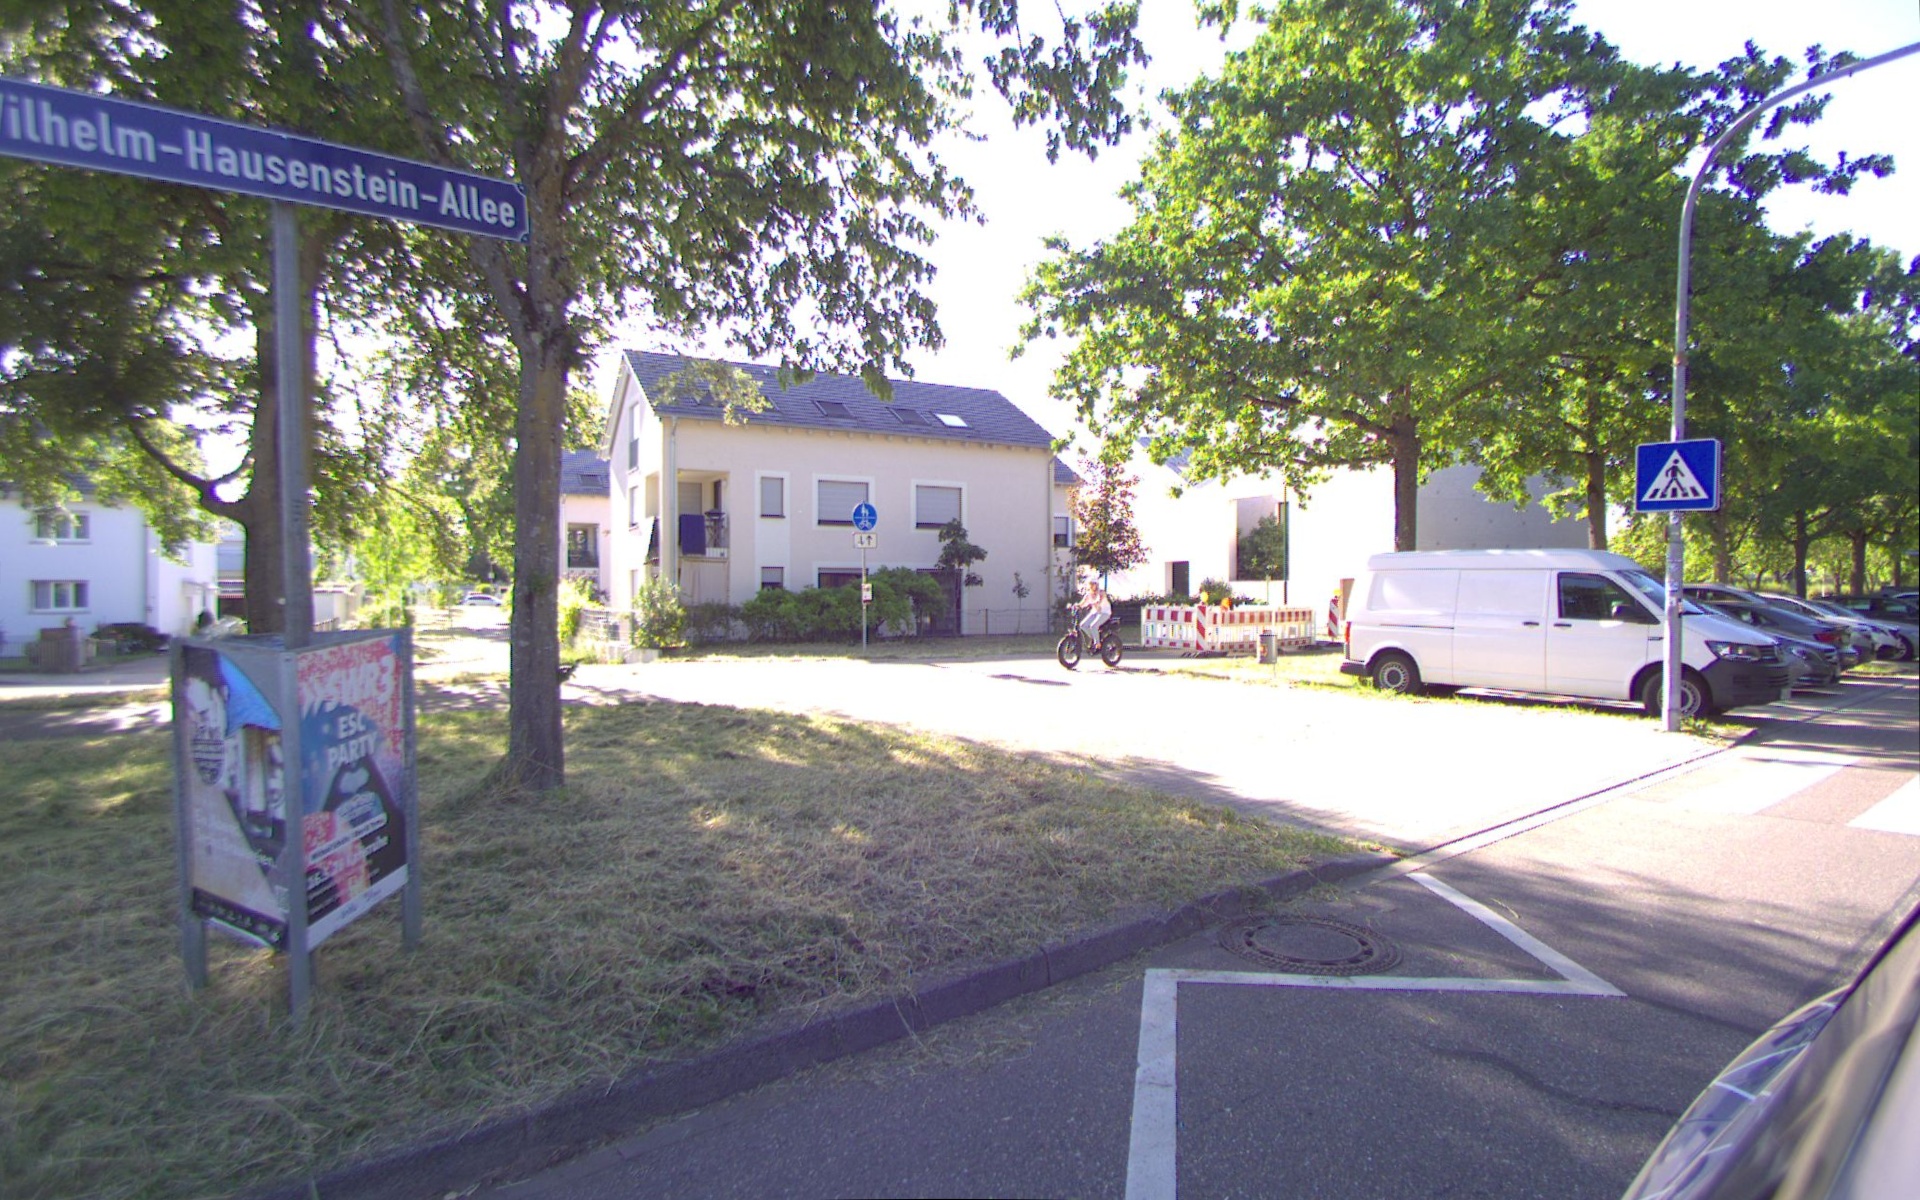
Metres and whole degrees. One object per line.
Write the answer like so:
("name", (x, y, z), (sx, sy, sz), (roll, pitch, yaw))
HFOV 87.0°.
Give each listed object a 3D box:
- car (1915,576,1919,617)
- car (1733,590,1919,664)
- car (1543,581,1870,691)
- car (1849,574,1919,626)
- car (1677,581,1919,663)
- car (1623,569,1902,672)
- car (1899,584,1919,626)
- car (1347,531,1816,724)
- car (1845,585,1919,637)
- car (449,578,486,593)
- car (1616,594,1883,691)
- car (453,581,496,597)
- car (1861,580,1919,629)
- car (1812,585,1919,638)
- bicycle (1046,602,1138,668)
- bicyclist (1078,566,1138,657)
("car", (43.375, -0.157, 42.608), (1.504, 1.765, 4.396), (0, 0, -37))
("car", (21.530, 0.622, 24.667), (1.504, 1.681, 4.020), (0, 0, -37))
("car", (12.103, 0.516, 16.643), (1.725, 1.583, 3.997), (0, 0, -37))
("car", (37.919, -0.015, 39.656), (1.504, 2.013, 4.396), (0, 0, -37))
("car", (19.007, 0.465, 23.114), (1.504, 1.700, 4.020), (0, 0, -37))
("car", (15.717, 0.359, 20.004), (1.681, 1.816, 4.020), (0, 0, -37))
("car", (41.447, 0.184, 41.289), (1.504, 1.765, 4.396), (0, 0, -37))
("car", (8.027, 0.253, 13.588), (1.857, 2.107, 5.045), (0, 1, -39))
("car", (32.957, 0.368, 34.188), (1.504, 1.765, 4.396), (0, 0, -37))
("car", (-68.372, -1.957, 140.548), (4.524, 2.039, 2.003), (0, 0, -24))
("car", (14.012, 0.689, 18.122), (1.421, 1.561, 3.517), (0, 0, -37))
("car", (-62.456, -1.395, 130.252), (4.543, 2.039, 1.995), (0, 0, -43))
("car", (35.960, 0.151, 36.935), (1.504, 1.765, 4.396), (0, 0, -37))
("car", (30.436, 0.356, 32.575), (1.504, 1.662, 4.396), (0, 0, -37))
("bicycle", (2.481, 0.624, 18.955), (1.798, 1.165, 0.677), (0, 0, -40))
("bicyclist", (2.807, 0.215, 19.257), (0.834, 1.687, 0.726), (-1, -1, -40))
